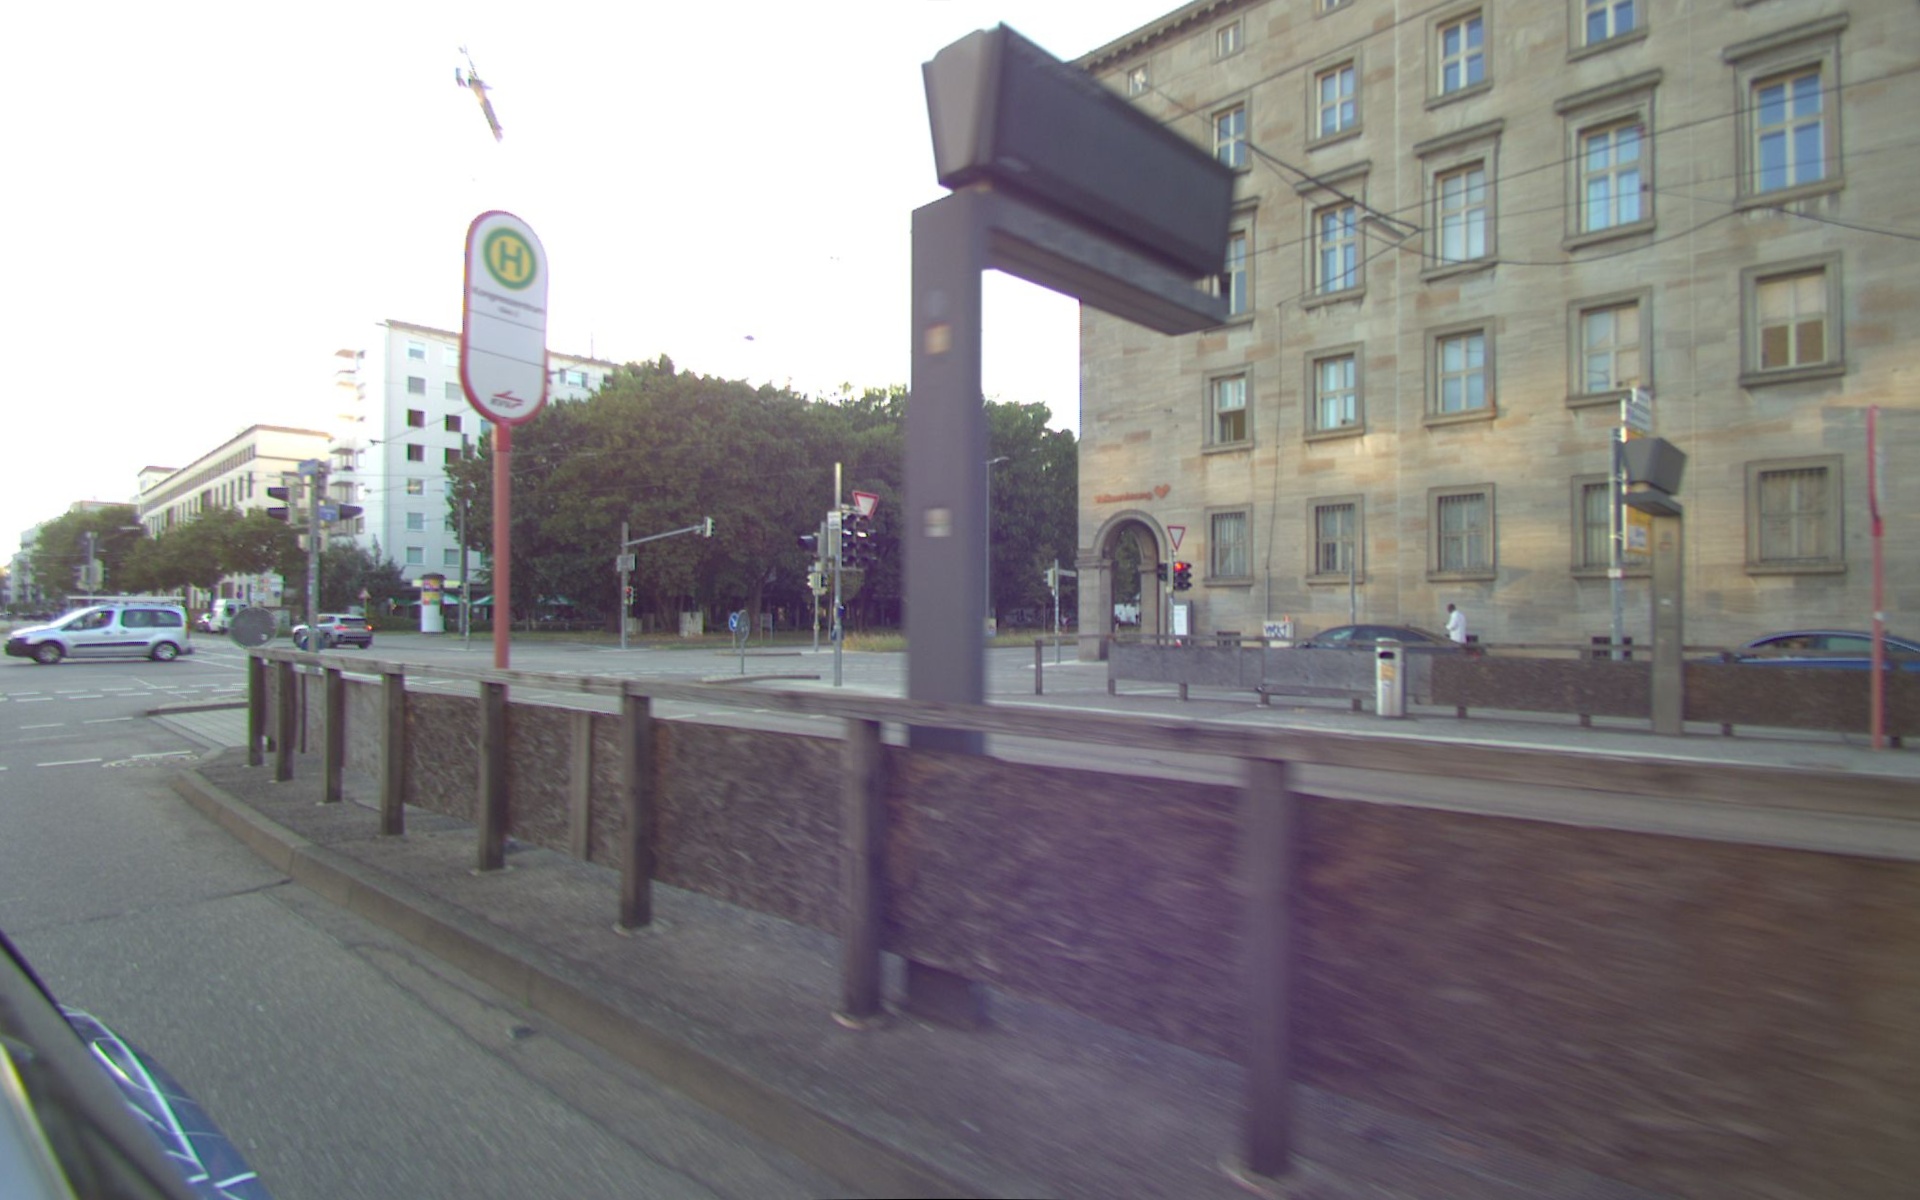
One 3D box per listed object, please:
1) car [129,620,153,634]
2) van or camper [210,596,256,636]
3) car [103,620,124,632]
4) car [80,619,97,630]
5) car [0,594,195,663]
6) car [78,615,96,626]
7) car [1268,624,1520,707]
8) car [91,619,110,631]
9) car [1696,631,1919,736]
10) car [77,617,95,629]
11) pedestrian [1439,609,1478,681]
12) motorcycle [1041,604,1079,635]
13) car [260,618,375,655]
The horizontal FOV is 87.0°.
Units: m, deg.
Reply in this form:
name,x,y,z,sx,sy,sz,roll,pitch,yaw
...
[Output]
name,x,y,z,sx,sy,sz,roll,pitch,yaw
car,-86.089,2.876,106.374,1.697,1.441,3.814,1,-2,-42
van or camper,-53.297,1.190,74.189,2.080,2.702,4.714,1,-3,-44
car,-100.128,3.061,119.701,1.697,1.441,3.814,1,-2,-42
car,-124.476,3.479,144.520,1.697,1.441,3.814,1,-2,-42
car,-25.963,0.832,30.487,1.806,1.926,4.402,-1,-2,43
car,-115.262,2.759,133.583,1.697,1.441,3.814,1,-2,-42
car,8.380,1.204,19.799,4.234,1.438,1.624,-1,-2,44
car,-108.614,3.179,127.853,1.697,1.498,3.815,1,-2,-41
car,13.477,1.207,15.220,3.706,1.438,1.624,-1,-2,44
car,-111.433,2.955,128.988,1.697,1.498,3.815,2,-2,-41
pedestrian,12.223,1.083,24.799,0.687,1.723,0.647,1,-2,-43
motorcycle,8.476,1.627,85.758,3.343,2.603,1.181,1,-2,-39
car,-30.158,1.689,47.587,4.290,1.676,1.884,0,-1,5
